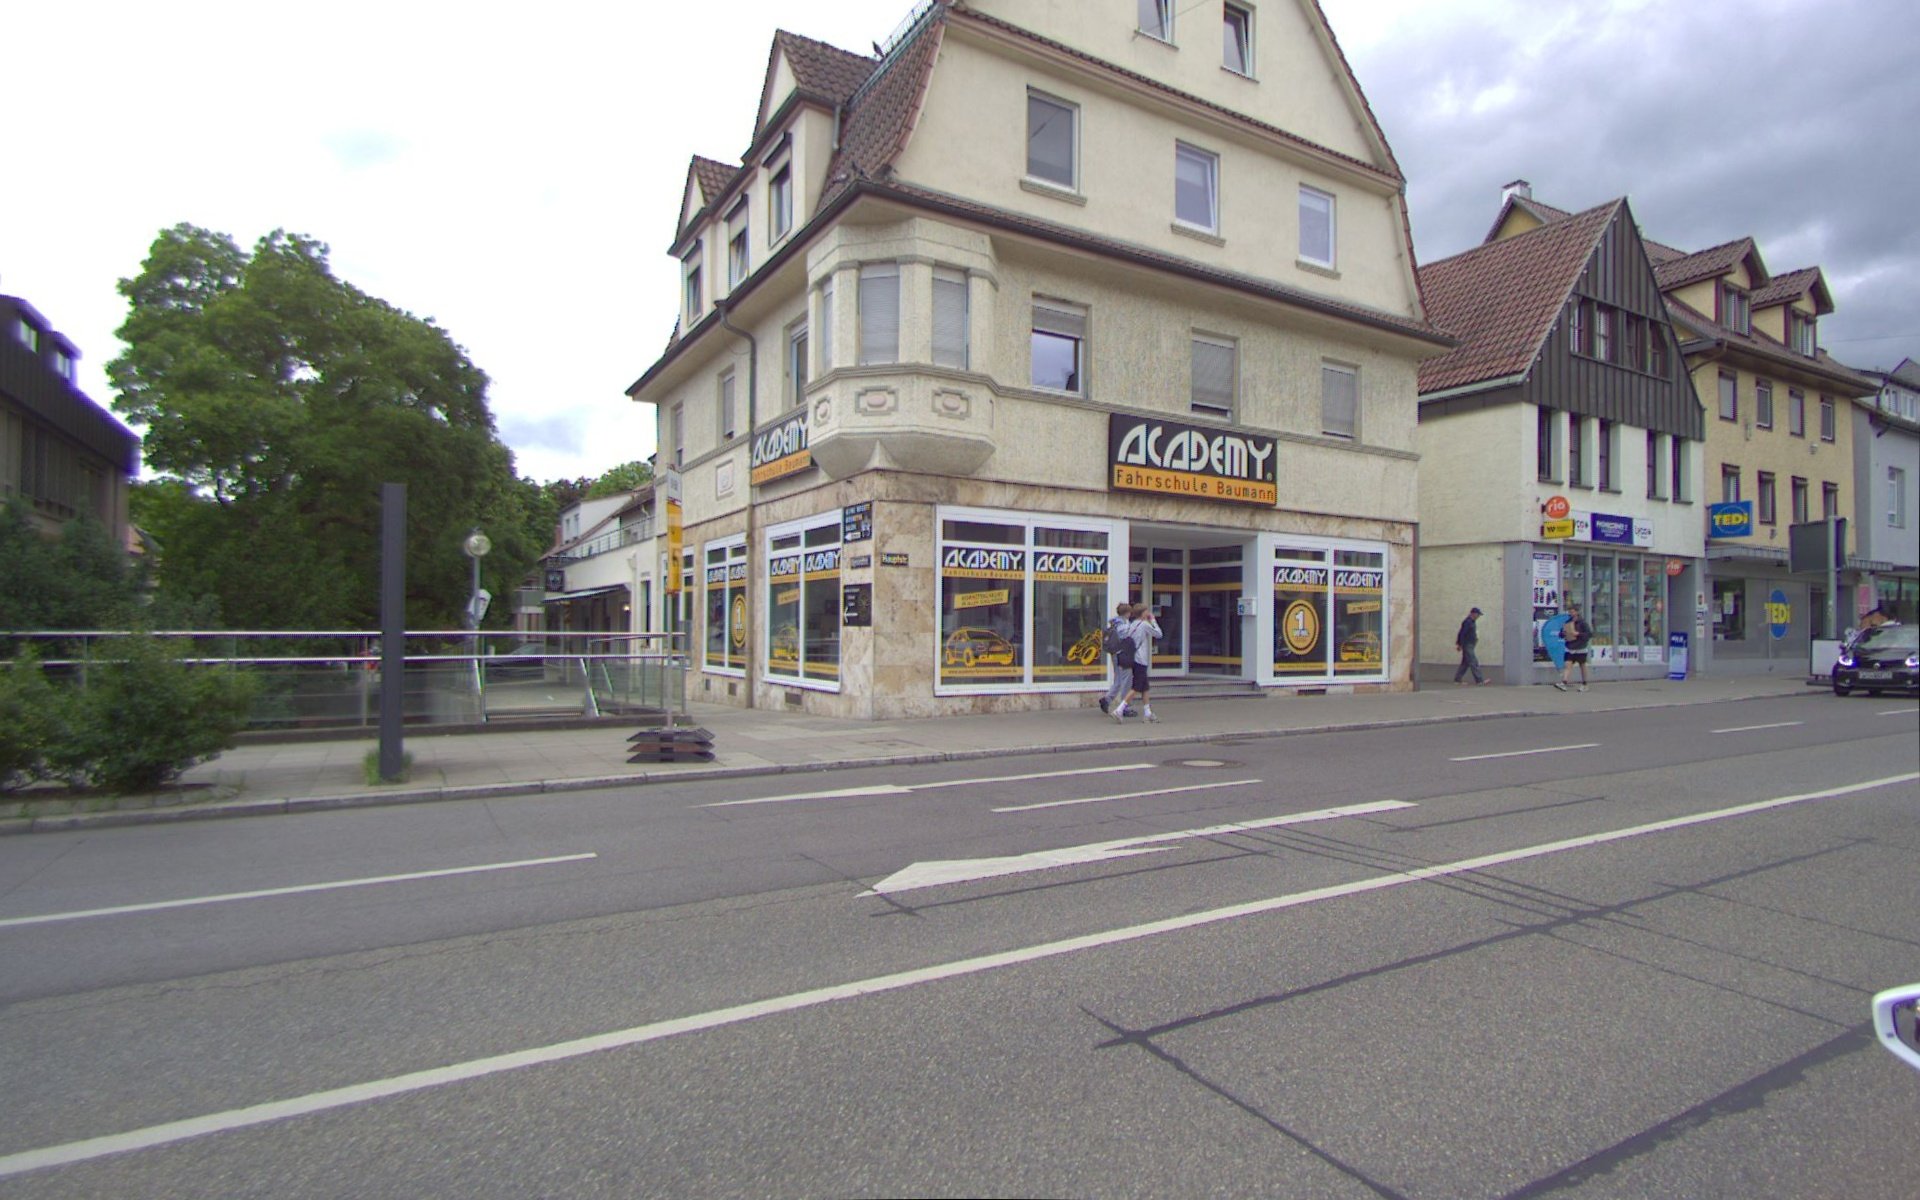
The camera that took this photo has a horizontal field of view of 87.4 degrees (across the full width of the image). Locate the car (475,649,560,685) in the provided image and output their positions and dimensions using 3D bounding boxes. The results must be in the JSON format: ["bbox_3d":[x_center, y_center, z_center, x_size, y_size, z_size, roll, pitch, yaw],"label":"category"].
[{"bbox_3d":[-20.706,3.104,47.019,3.467,1.543,1.609,1,-2,-31],"label":"car"}]

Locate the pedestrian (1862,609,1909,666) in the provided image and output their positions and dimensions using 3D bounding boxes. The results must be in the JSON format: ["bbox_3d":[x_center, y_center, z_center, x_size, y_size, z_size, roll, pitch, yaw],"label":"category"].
[{"bbox_3d":[27.551,1.105,29.910,0.971,1.656,0.811,1,1,-36],"label":"pedestrian"}]

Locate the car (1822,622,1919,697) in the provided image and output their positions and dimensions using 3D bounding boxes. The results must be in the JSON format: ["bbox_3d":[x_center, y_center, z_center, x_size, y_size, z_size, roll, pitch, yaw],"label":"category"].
[{"bbox_3d":[20.769,1.270,22.171,3.467,1.543,1.609,1,-2,-31],"label":"car"}]

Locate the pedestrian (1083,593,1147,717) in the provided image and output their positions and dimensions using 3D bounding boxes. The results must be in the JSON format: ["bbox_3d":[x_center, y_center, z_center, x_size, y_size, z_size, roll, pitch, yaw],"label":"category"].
[{"bbox_3d":[2.312,0.811,15.040,0.673,1.784,0.684,1,-2,-31],"label":"pedestrian"}]

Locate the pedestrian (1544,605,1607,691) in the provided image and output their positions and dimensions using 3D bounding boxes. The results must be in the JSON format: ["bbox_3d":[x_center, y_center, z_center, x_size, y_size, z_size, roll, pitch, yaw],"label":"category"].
[{"bbox_3d":[13.242,1.010,21.623,0.798,1.770,0.861,0,2,-35],"label":"pedestrian"}]

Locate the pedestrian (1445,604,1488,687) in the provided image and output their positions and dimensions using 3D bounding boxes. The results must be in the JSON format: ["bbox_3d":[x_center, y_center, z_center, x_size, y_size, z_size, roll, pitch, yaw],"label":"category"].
[{"bbox_3d":[11.362,0.991,22.520,0.791,1.770,0.868,2,2,28],"label":"pedestrian"}]

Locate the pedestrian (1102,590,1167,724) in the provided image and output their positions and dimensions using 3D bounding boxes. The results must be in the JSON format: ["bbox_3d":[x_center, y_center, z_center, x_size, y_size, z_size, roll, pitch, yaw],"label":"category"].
[{"bbox_3d":[2.487,0.797,14.331,0.673,1.848,0.630,1,-2,-31],"label":"pedestrian"}]
